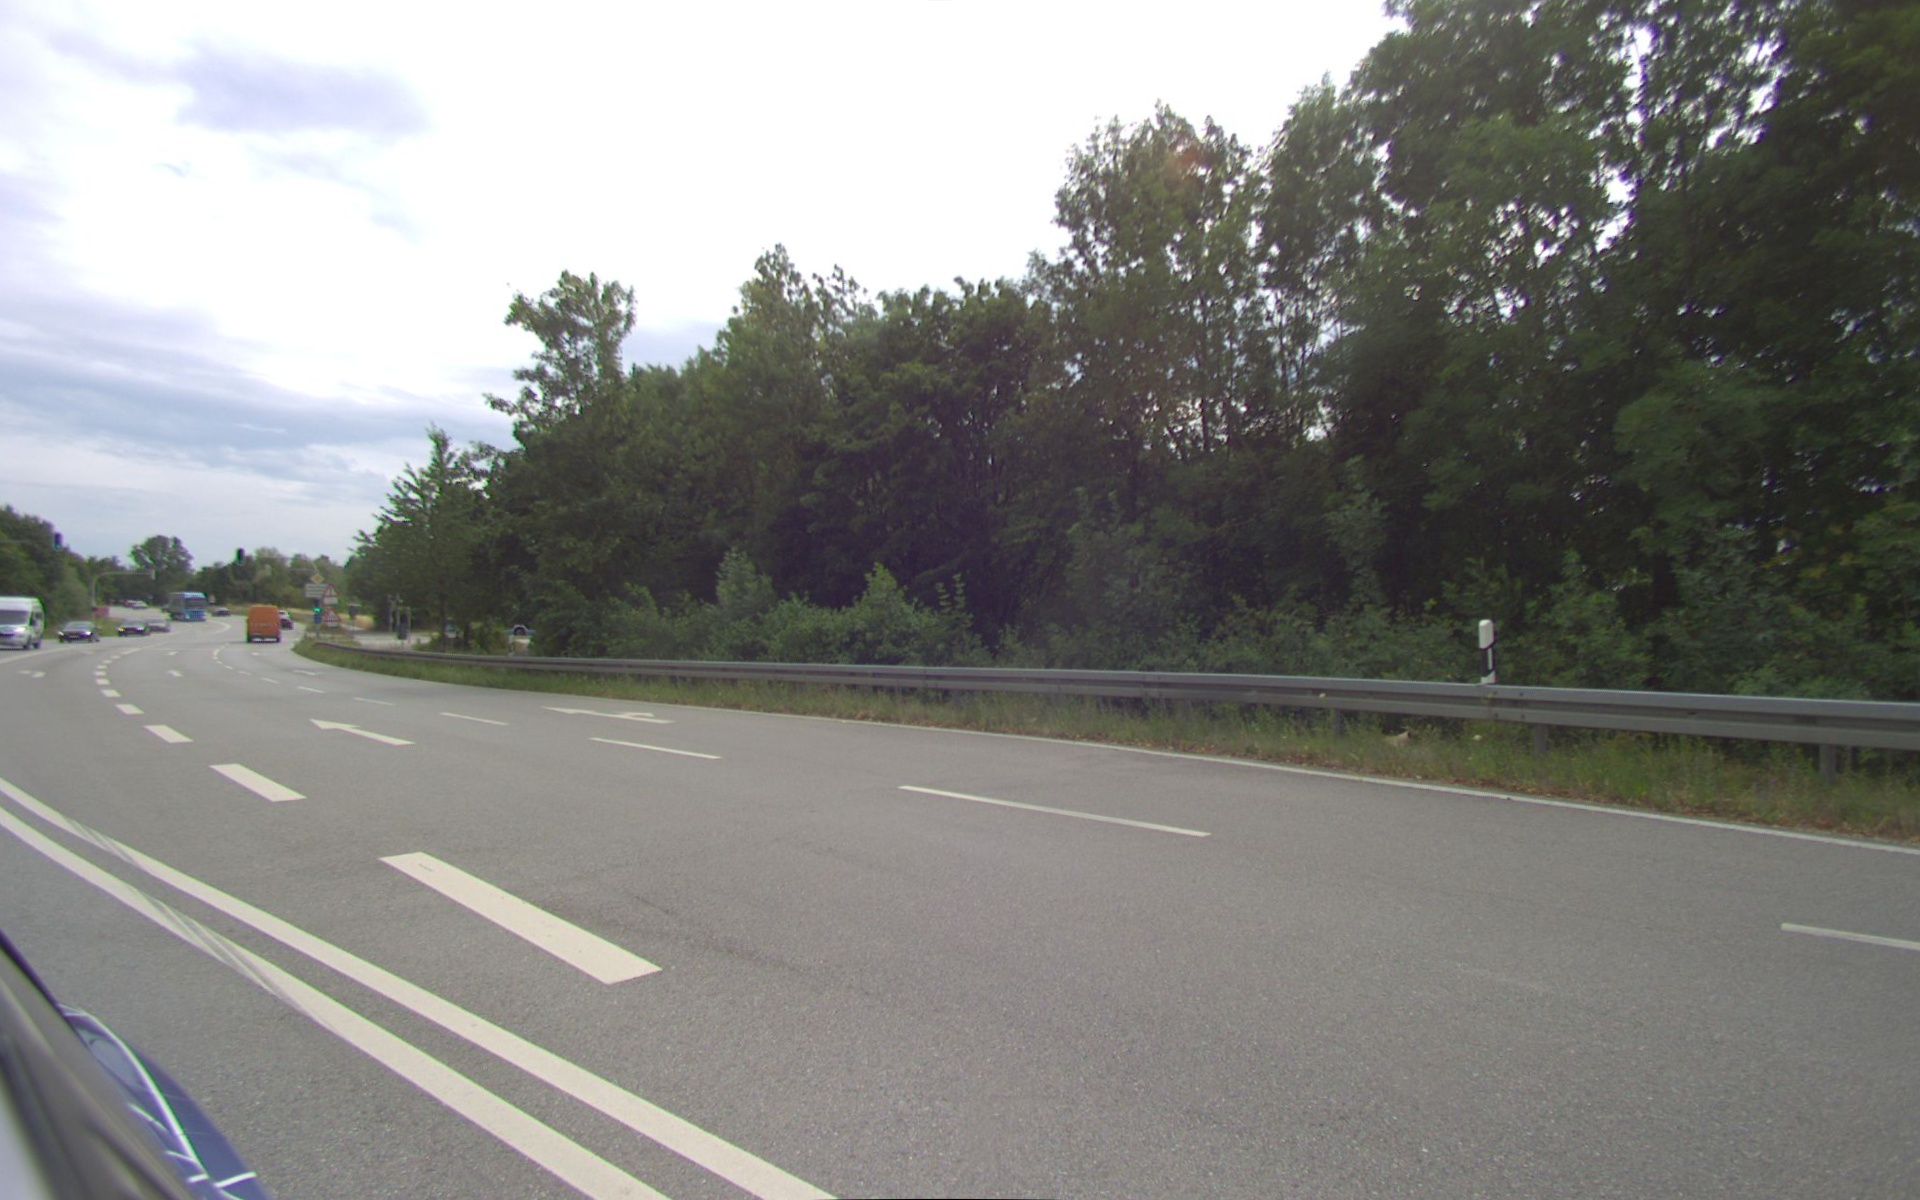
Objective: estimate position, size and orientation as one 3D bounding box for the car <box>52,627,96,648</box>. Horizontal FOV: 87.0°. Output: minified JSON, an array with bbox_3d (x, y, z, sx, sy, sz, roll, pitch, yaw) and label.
[{"bbox_3d":[-60.574,2.559,69.232,1.716,1.335,4.010,4,-4,-34],"label":"car"}]

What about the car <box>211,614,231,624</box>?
[{"bbox_3d":[-119.020,3.016,163.058,4.198,1.497,1.722,0,-1,41],"label":"car"}]

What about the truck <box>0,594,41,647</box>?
[{"bbox_3d":[-49.693,1.064,52.729,2.343,2.613,6.009,2,-2,-39],"label":"truck"}]

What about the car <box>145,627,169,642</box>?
[{"bbox_3d":[-79.892,3.436,100.681,1.718,1.335,4.007,4,-4,-39],"label":"car"}]

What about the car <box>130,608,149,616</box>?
[{"bbox_3d":[-158.353,2.352,195.247,3.988,1.497,1.726,-1,0,33],"label":"car"}]

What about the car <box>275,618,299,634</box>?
[{"bbox_3d":[-69.584,2.696,104.685,1.693,1.509,4.562,2,-3,-29],"label":"car"}]

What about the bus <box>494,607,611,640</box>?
[{"bbox_3d":[-39.168,2.249,97.589,9.920,3.070,3.125,2,-2,-43],"label":"bus"}]

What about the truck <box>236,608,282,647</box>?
[{"bbox_3d":[-50.644,1.966,73.061,2.286,2.621,6.035,3,-3,-38],"label":"truck"}]

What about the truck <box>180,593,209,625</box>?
[{"bbox_3d":[-109.581,1.359,144.837,2.980,4.383,9.589,2,-2,-39],"label":"truck"}]

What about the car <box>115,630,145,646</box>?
[{"bbox_3d":[-73.018,3.367,89.085,1.716,1.335,4.010,4,-4,-35],"label":"car"}]
